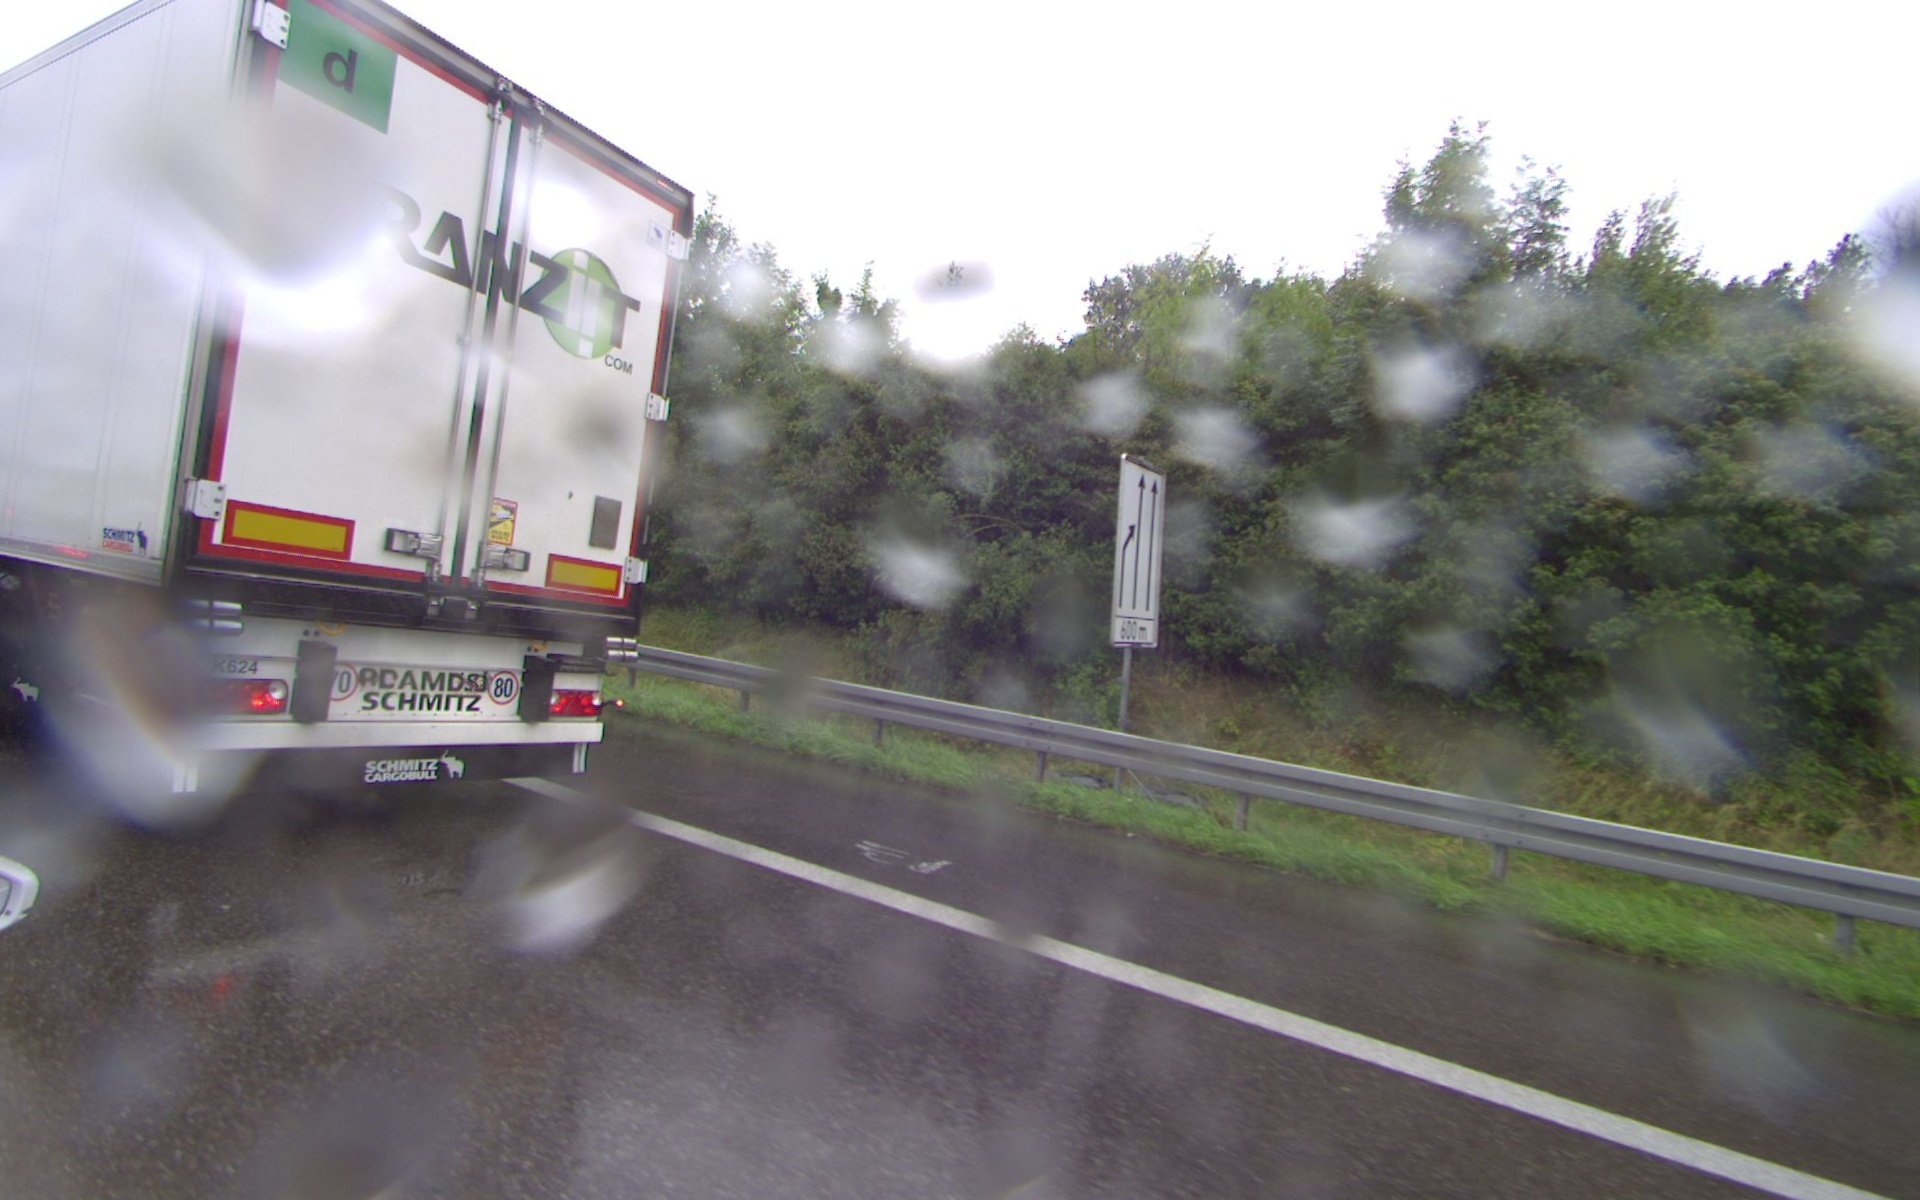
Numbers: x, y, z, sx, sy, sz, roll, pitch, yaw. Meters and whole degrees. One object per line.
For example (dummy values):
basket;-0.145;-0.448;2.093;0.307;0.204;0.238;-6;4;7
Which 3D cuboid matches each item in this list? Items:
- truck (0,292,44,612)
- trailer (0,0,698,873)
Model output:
truck;-14.321;-2.138;12.666;4.712;3.873;2.634;7;0;32
trailer;-8.659;-1.509;9.113;14.386;4.061;2.634;7;0;32
